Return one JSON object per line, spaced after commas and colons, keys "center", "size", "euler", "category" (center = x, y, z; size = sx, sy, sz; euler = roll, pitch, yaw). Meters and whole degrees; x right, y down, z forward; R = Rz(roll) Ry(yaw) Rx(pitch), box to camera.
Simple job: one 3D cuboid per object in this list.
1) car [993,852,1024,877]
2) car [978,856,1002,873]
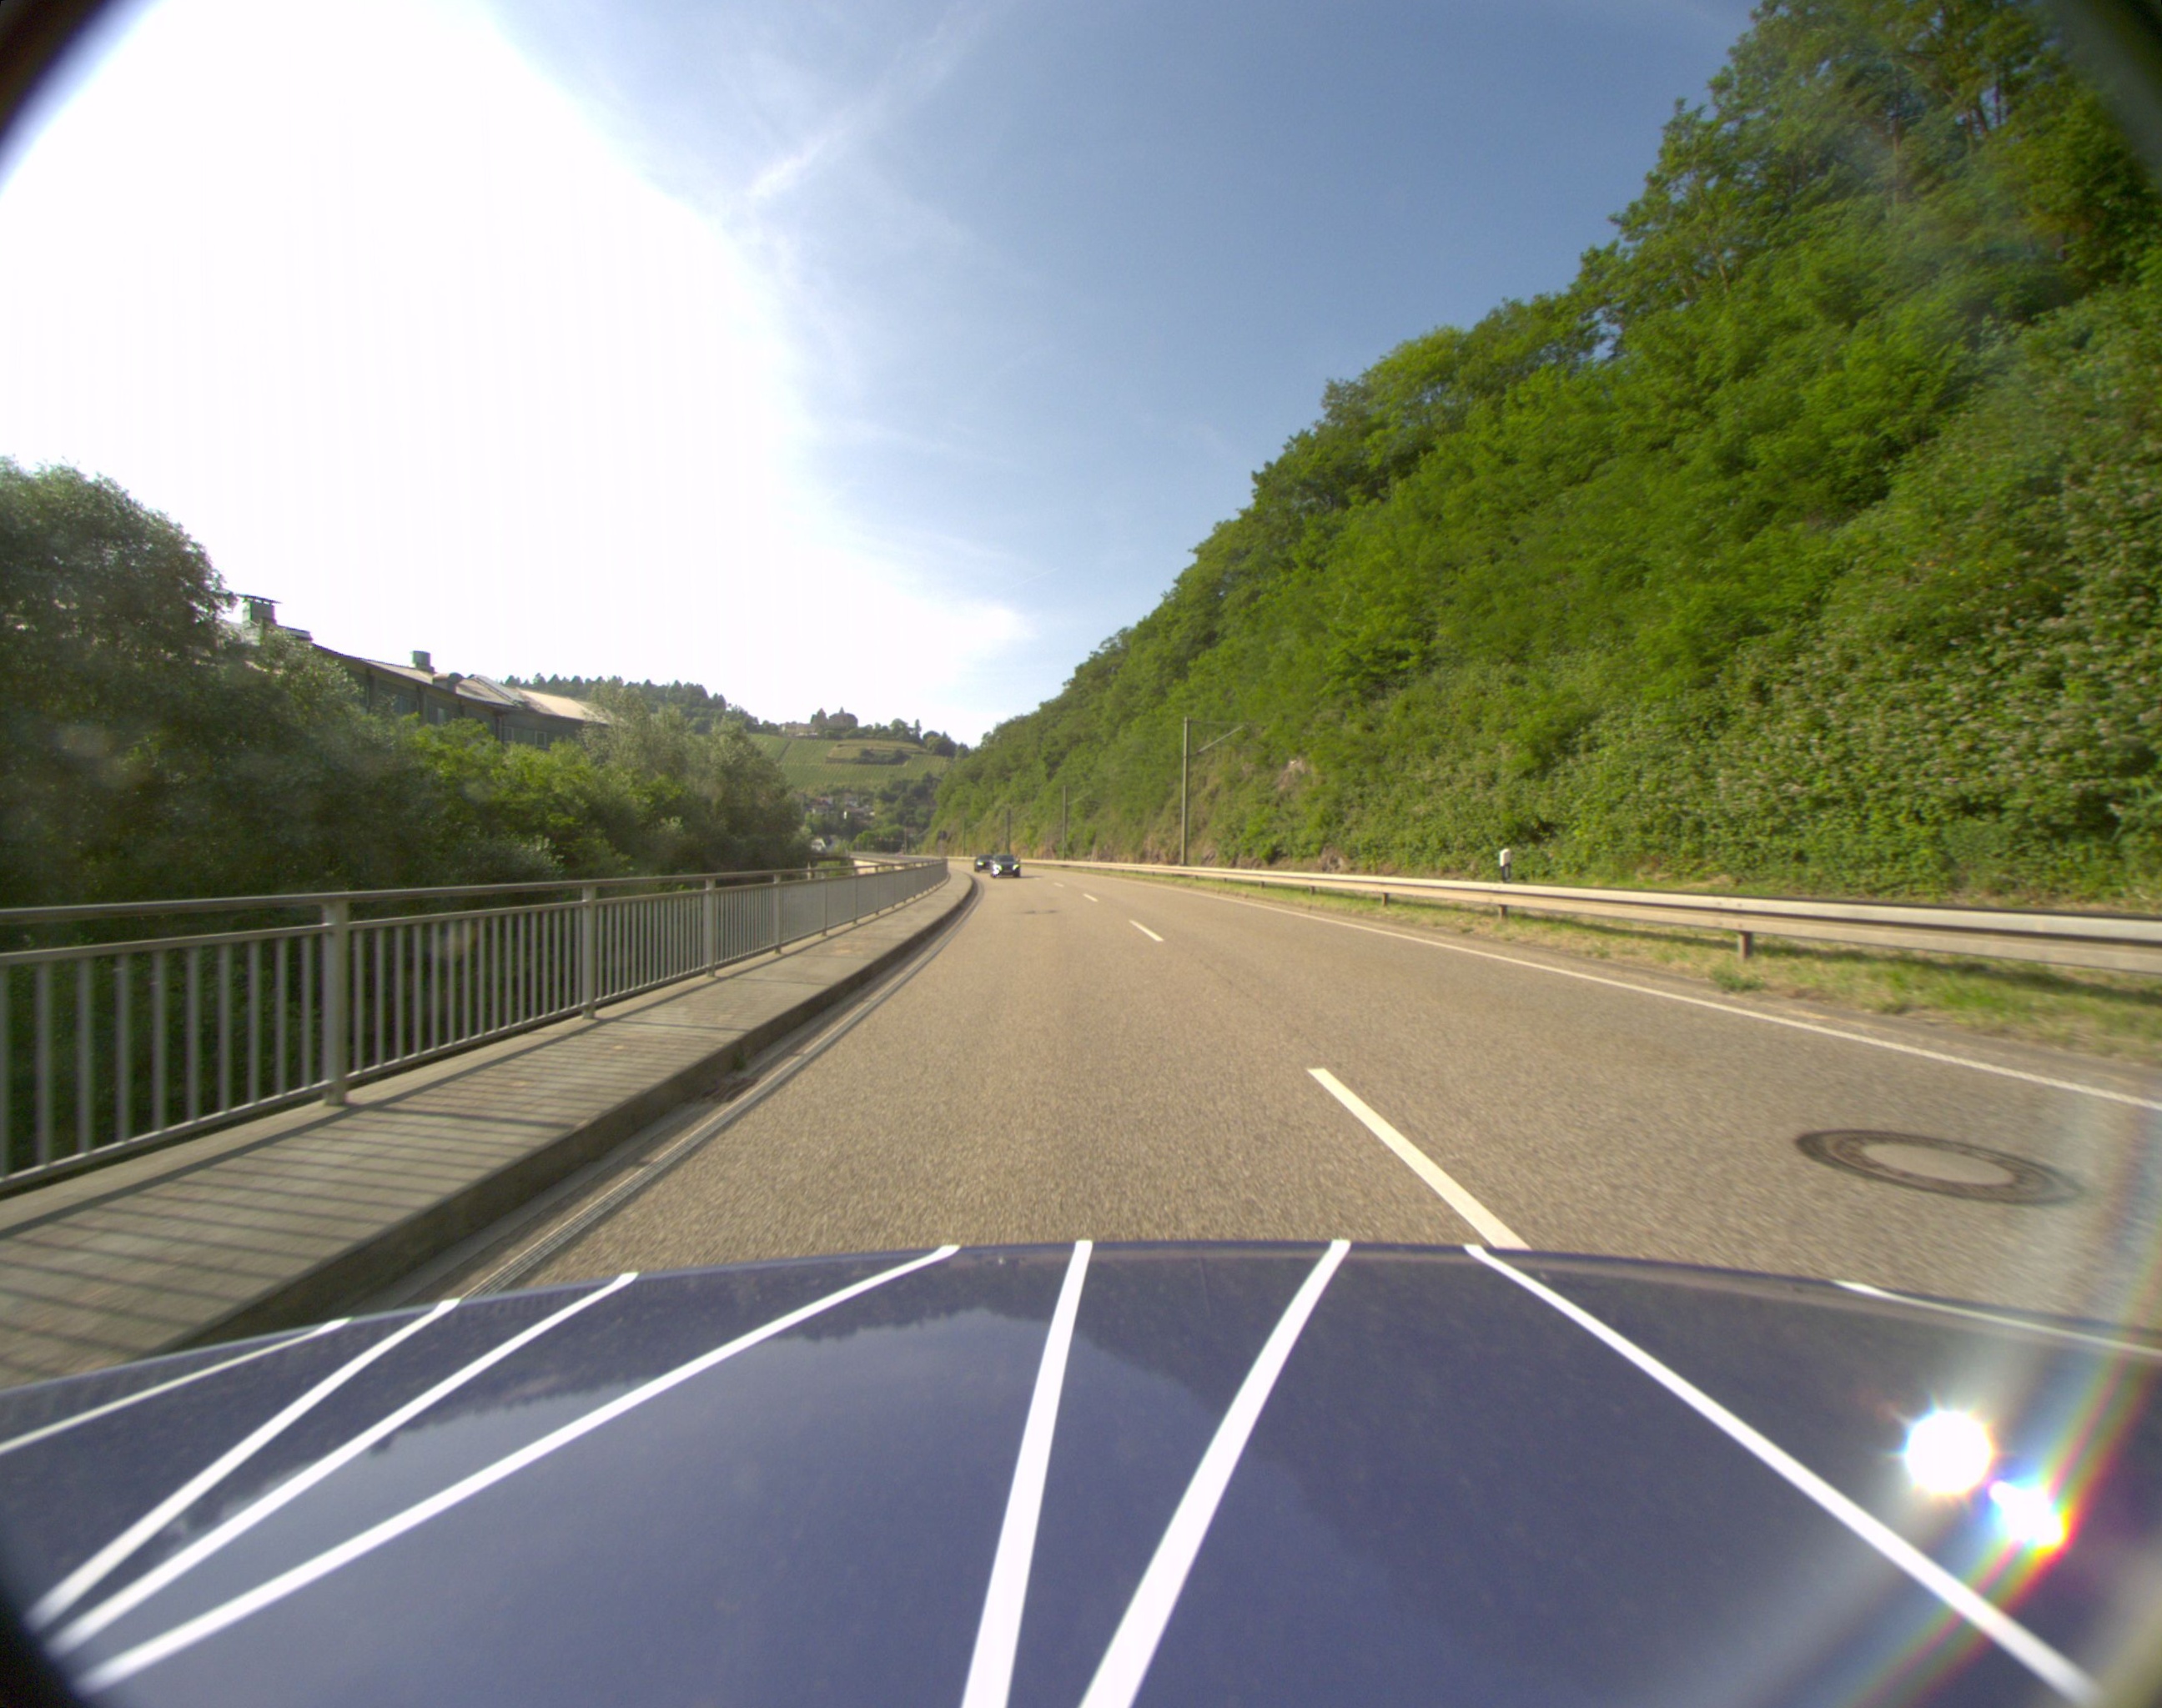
{"center": [-5.059, 0.695, 52.662], "size": [1.865, 1.576, 3.996], "euler": [-1, 1, -9], "category": "car"}
{"center": [-8.329, 0.969, 69.256], "size": [2.000, 1.384, 3.997], "euler": [3, -1, -10], "category": "car"}
